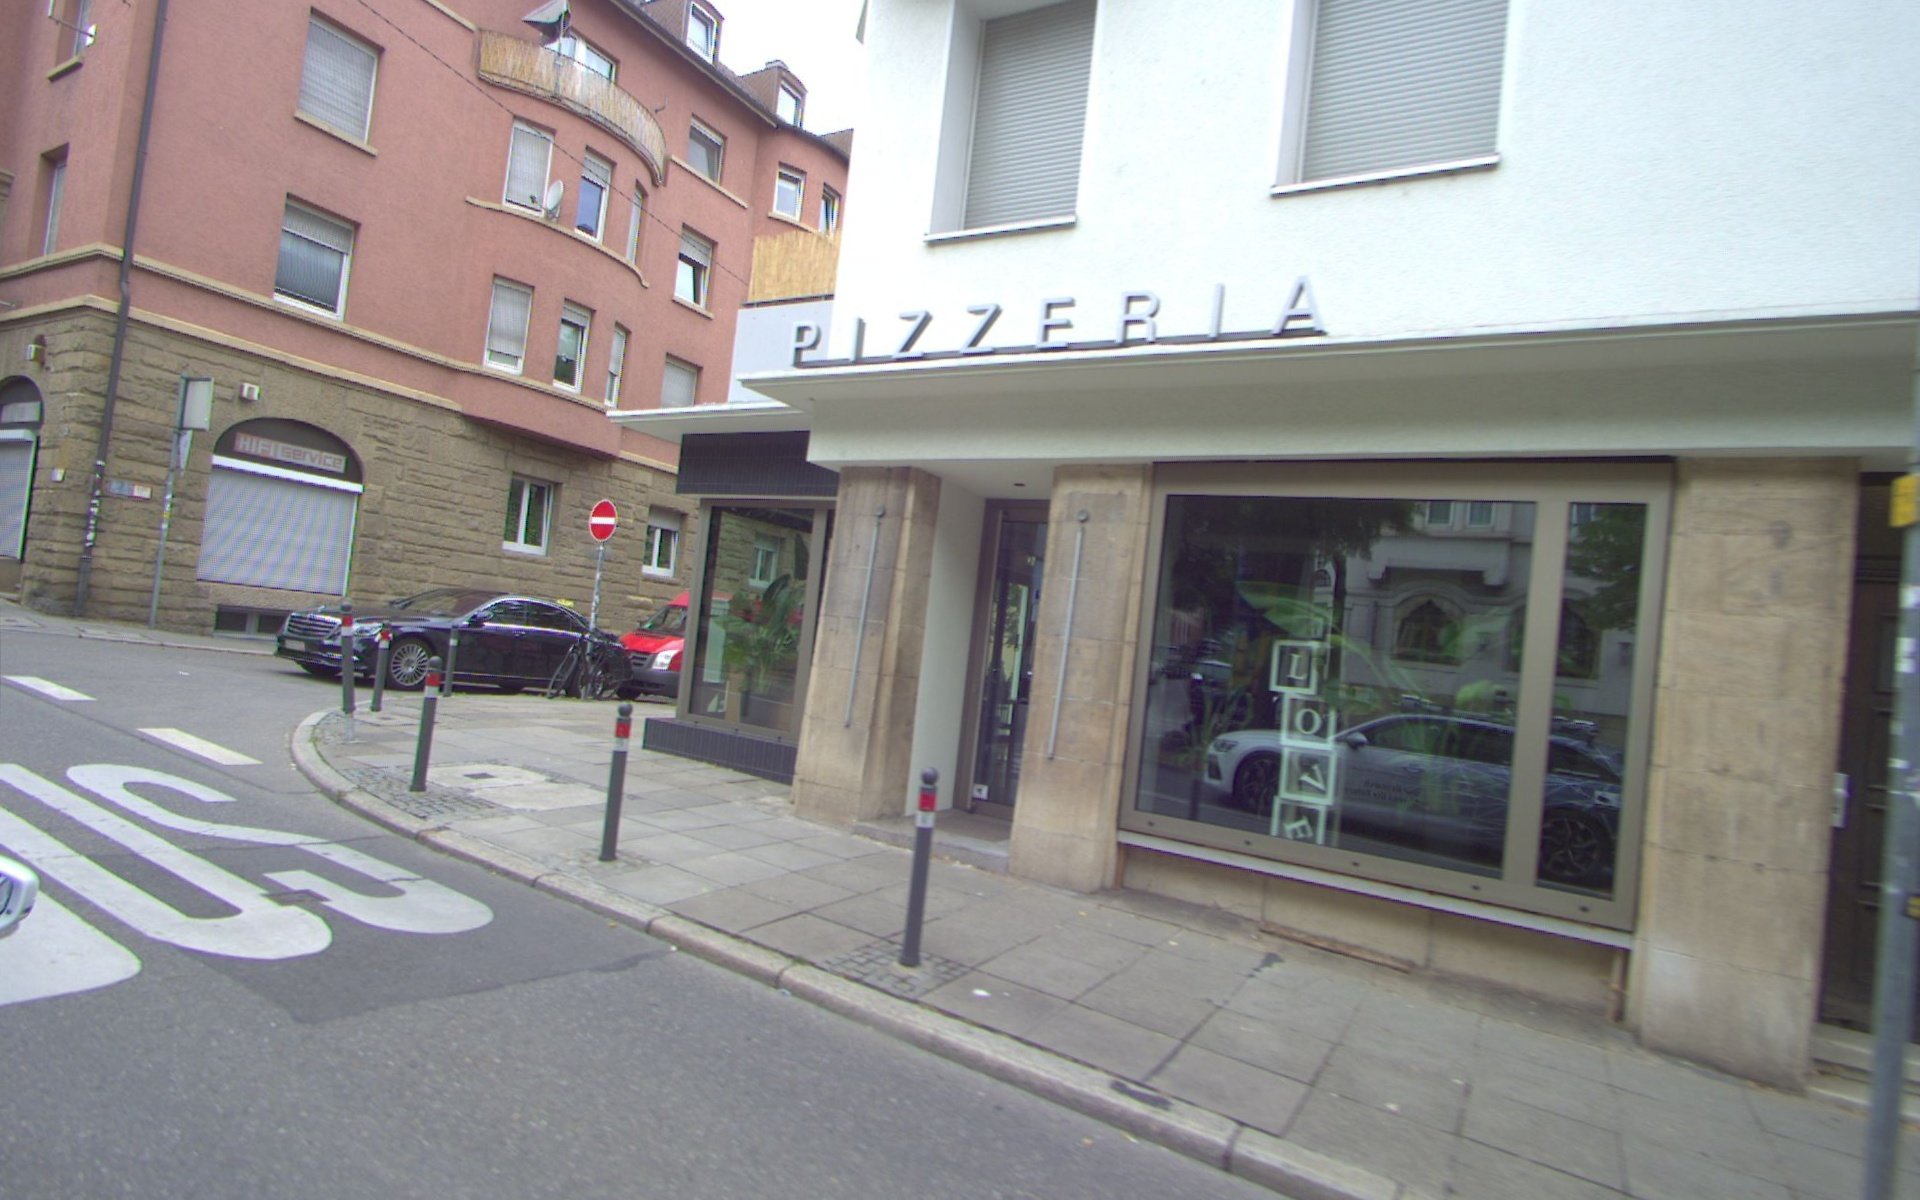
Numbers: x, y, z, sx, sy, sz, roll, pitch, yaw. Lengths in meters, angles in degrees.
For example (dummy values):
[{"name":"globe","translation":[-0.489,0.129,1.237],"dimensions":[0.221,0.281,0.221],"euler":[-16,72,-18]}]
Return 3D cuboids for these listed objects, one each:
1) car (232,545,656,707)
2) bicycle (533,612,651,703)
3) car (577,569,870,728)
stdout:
[{"name":"car","translation":[-7.194,0.528,14.795],"dimensions":[2.199,1.565,5.150],"euler":[6,-5,26]},{"name":"bicycle","translation":[-5.281,0.860,14.530],"dimensions":[0.622,1.166,1.503],"euler":[7,-3,22]},{"name":"car","translation":[-4.412,1.098,19.979],"dimensions":[2.201,2.261,5.608],"euler":[6,-6,30]}]
